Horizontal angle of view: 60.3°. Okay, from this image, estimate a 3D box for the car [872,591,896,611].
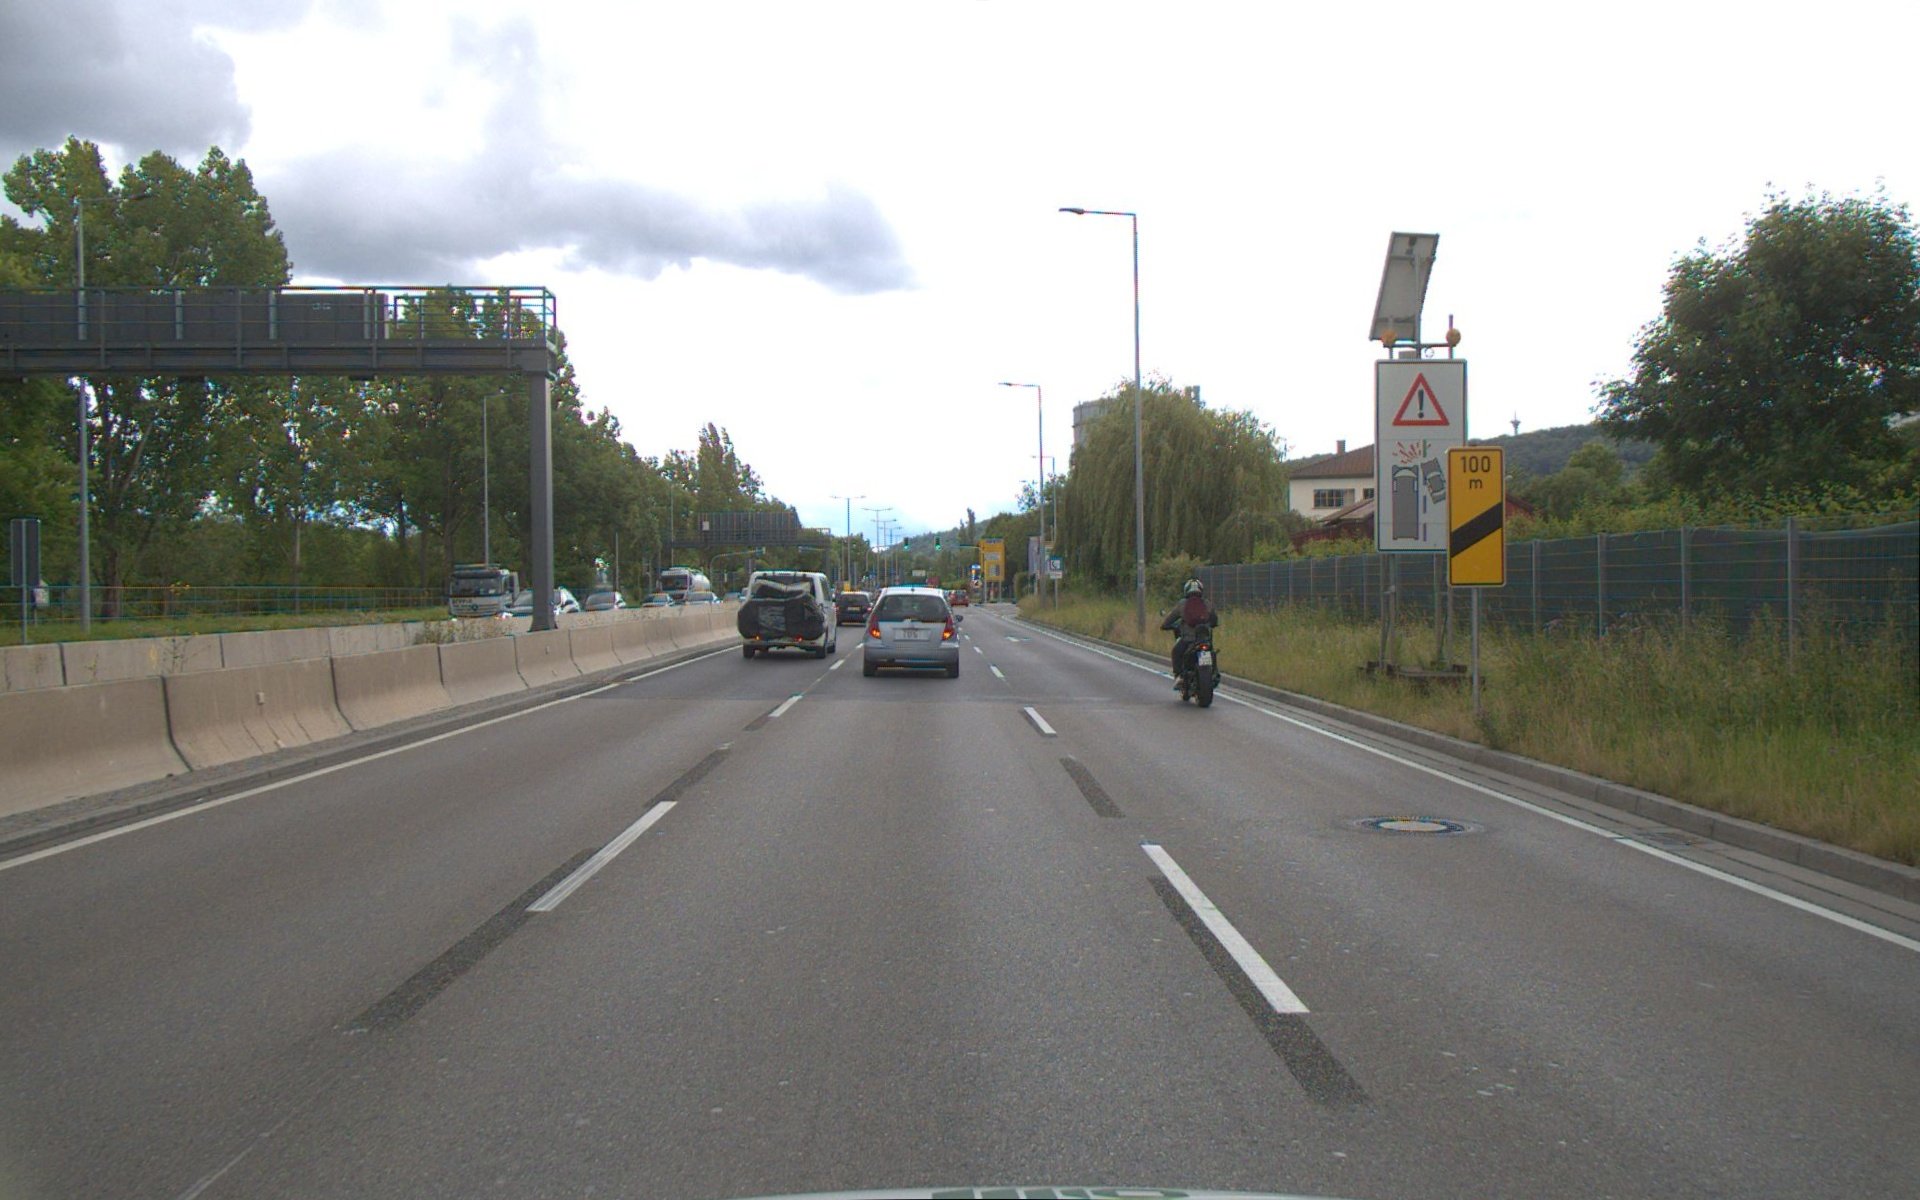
[{"bbox_3d":[-6.382,0.044,139.811,1.953,1.579,3.998,2,0,-2],"label":"car"}]

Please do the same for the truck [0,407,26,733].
[{"bbox_3d":[-10.379,-0.288,12.771,2.355,3.161,7.199,1,0,-2],"label":"truck"}]

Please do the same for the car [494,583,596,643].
[{"bbox_3d":[-12.095,0.346,48.479,1.887,1.646,4.455,2,0,-1],"label":"car"}]

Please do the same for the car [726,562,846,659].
[{"bbox_3d":[-3.800,0.199,36.978,2.170,1.959,5.001,2,0,-1],"label":"car"}]

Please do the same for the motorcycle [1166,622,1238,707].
[{"bbox_3d":[3.319,0.863,22.844,0.692,1.058,2.027,1,0,1],"label":"motorcycle"}]

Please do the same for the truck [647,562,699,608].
[{"bbox_3d":[-21.217,-1.102,122.543,3.036,3.275,5.388,1,0,-3],"label":"truck"}]

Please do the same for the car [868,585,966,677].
[{"bbox_3d":[-0.791,0.532,30.761,1.676,1.556,3.999,2,0,-1],"label":"car"}]

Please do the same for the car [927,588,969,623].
[{"bbox_3d":[-0.546,0.216,73.491,1.803,1.489,3.999,2,0,-1],"label":"car"}]

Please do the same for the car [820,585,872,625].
[{"bbox_3d":[-4.738,0.182,69.353,1.953,1.579,3.999,2,0,-1],"label":"car"}]

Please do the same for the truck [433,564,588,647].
[{"bbox_3d":[-19.231,0.146,72.121,2.796,3.161,15.880,1,0,-2],"label":"truck"}]

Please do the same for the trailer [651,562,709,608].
[{"bbox_3d":[-21.497,-1.146,127.685,3.039,3.276,11.661,1,0,-3],"label":"trailer"}]

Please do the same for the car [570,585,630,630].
[{"bbox_3d":[-16.036,0.315,73.835,1.779,1.909,4.100,1,0,-1],"label":"car"}]

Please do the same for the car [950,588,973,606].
[{"bbox_3d":[0.113,-0.315,157.424,1.953,1.579,3.998,2,0,-2],"label":"car"}]

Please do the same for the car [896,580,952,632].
[{"bbox_3d":[-1.243,0.200,58.515,1.869,1.713,3.999,2,0,-1],"label":"car"}]

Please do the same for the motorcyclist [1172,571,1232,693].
[{"bbox_3d":[3.329,0.427,22.773,0.670,1.638,0.845,1,0,1],"label":"motorcyclist"}]
